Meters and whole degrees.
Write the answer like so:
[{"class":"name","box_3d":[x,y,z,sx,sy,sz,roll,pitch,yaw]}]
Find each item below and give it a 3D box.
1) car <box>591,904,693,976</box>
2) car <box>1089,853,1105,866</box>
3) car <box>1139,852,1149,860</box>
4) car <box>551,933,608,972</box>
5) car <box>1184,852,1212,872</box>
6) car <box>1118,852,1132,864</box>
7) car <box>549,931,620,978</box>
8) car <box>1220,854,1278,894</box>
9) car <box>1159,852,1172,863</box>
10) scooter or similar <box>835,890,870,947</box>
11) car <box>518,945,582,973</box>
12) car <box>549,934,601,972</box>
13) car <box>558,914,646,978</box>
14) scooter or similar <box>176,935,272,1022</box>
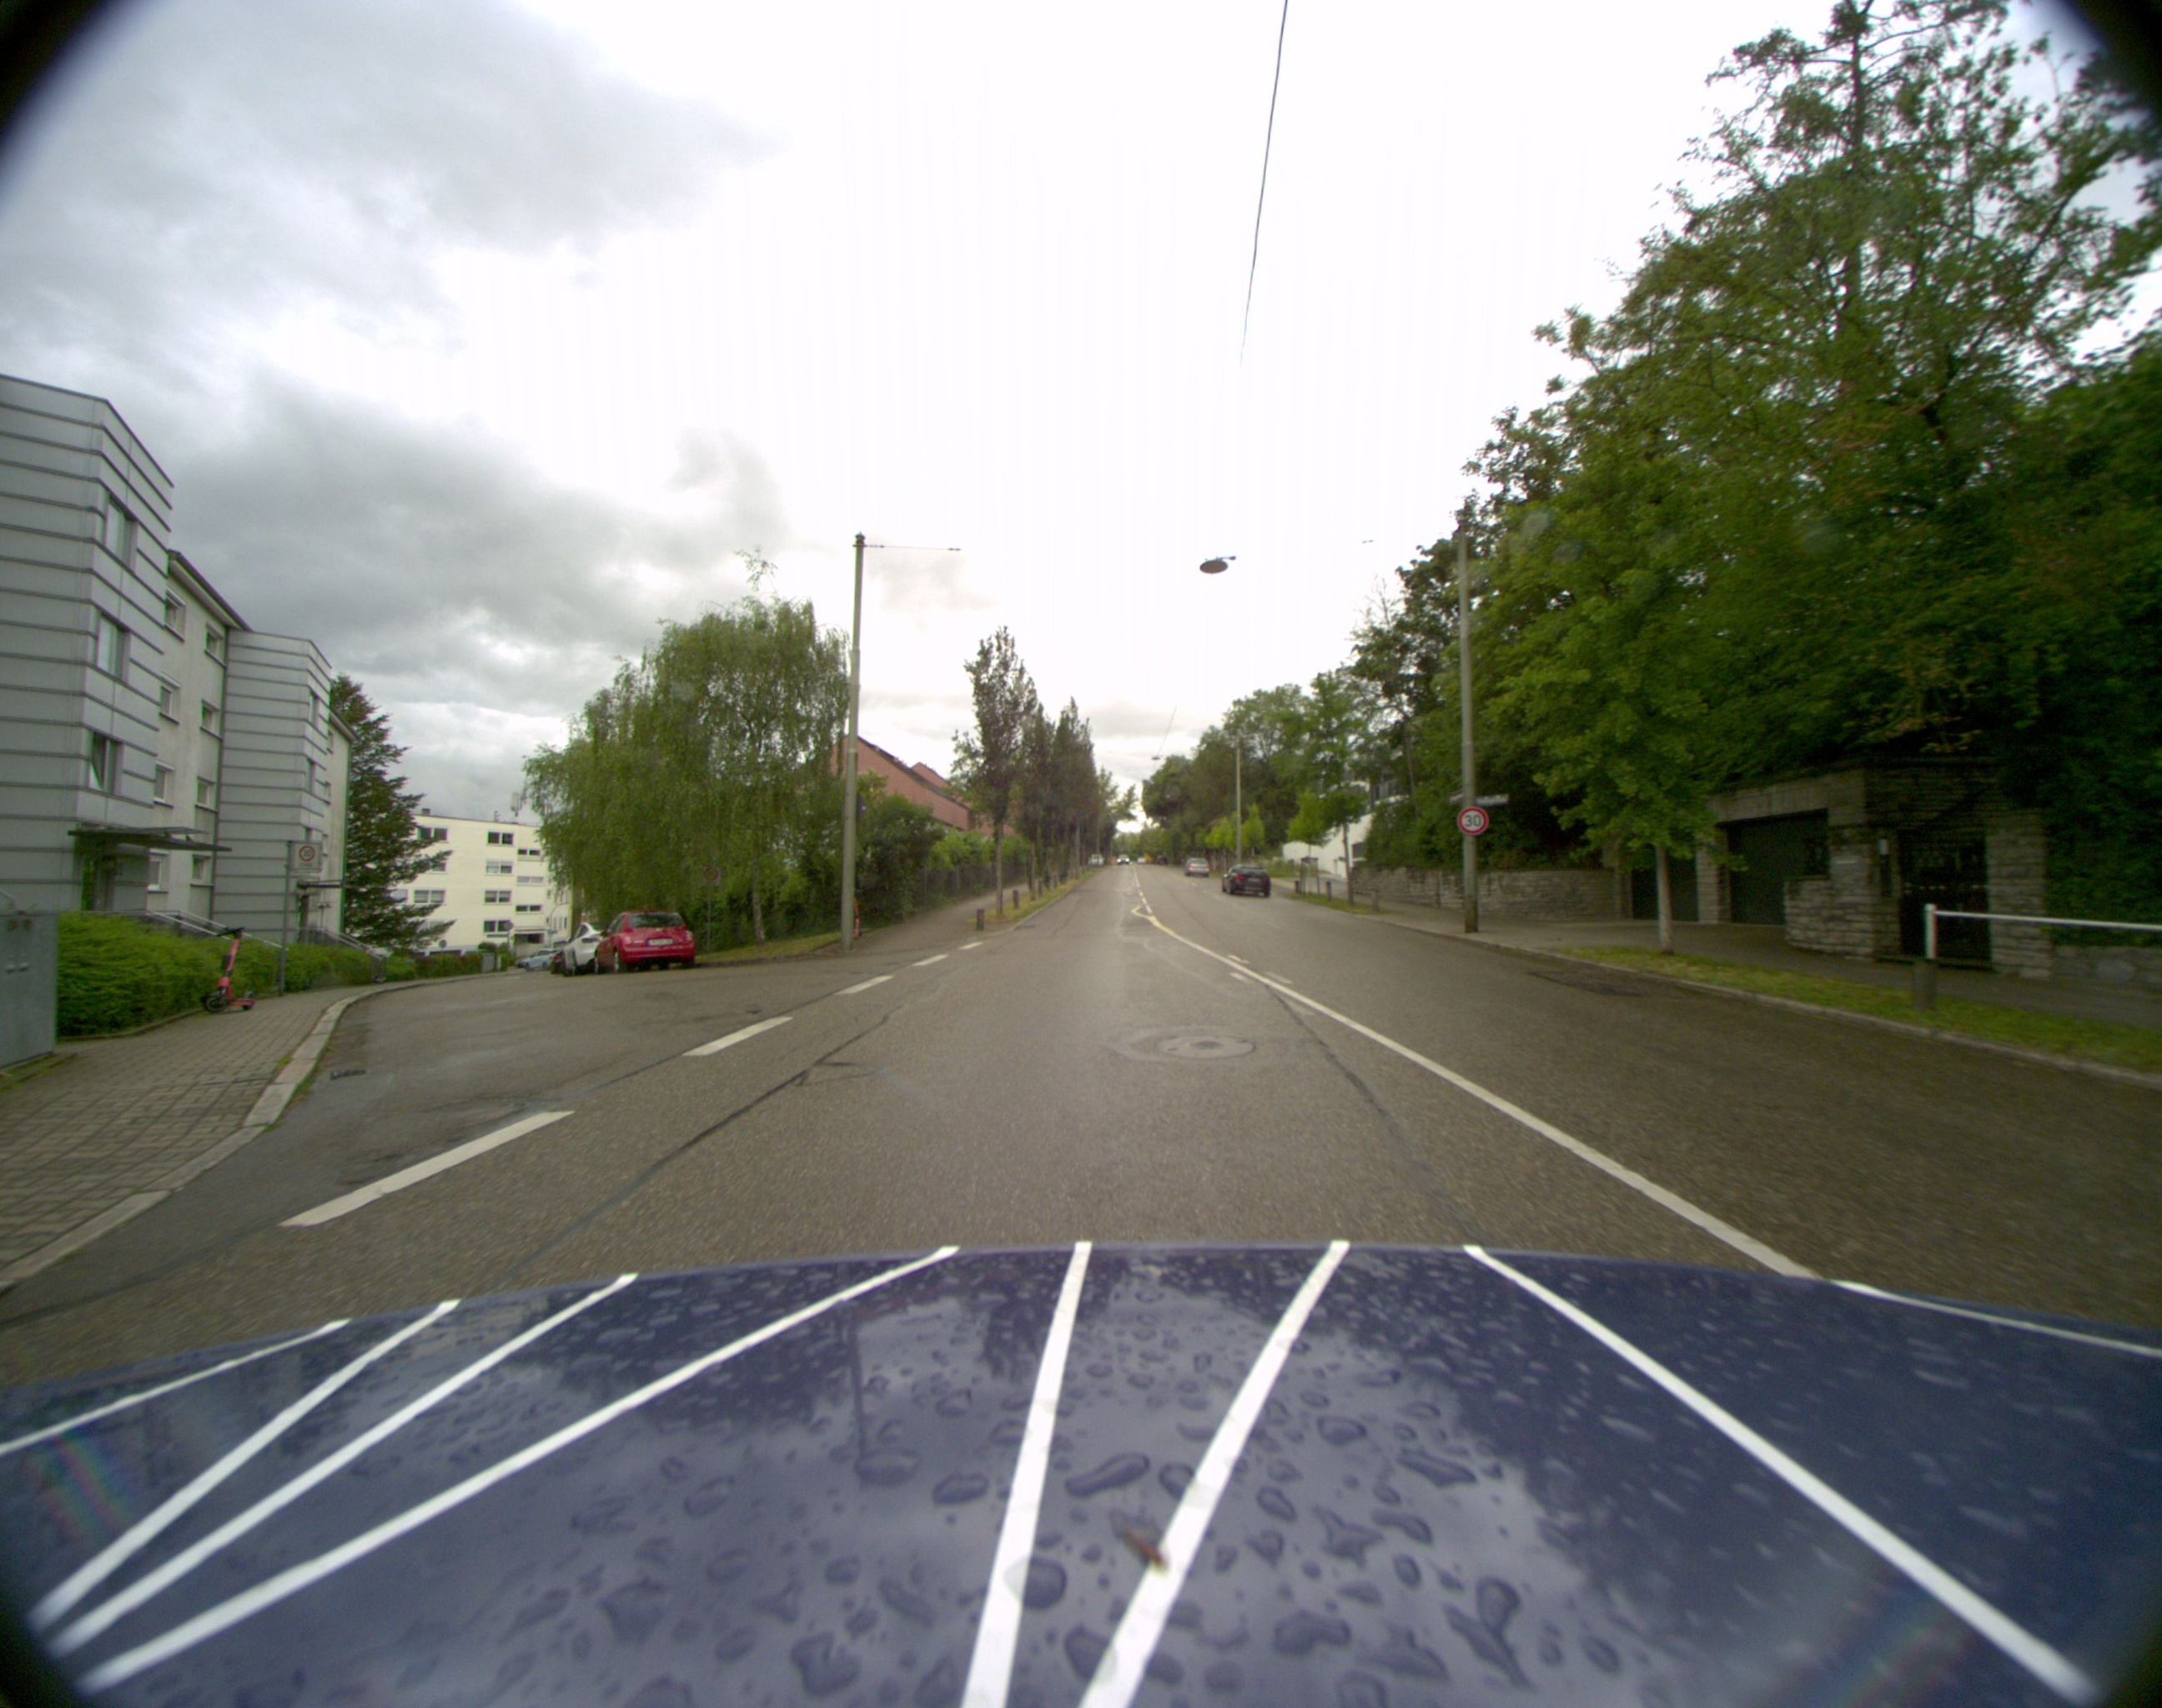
[{"class":"car","box_3d":[-10.886,2.151,18.746,1.648,1.512,3.563,0,-7,-38]},{"class":"car","box_3d":[2.024,0.690,94.303,1.829,1.620,4.000,0,1,2]},{"class":"car","box_3d":[12.299,0.378,148.135,1.765,1.477,4.001,1,1,4]},{"class":"car","box_3d":[-21.283,4.151,32.188,1.598,1.370,3.892,-3,-4,-38]},{"class":"car","box_3d":[9.165,0.608,59.705,1.769,1.477,3.802,3,0,4]},{"class":"car","box_3d":[6.934,0.649,119.309,1.998,1.674,4.002,-3,-1,6]},{"class":"car","box_3d":[-18.152,3.702,27.705,1.730,1.412,4.295,-3,-6,-38]},{"class":"car","box_3d":[7.727,0.874,35.327,1.915,1.576,4.588,3,1,4]},{"class":"car","box_3d":[13.263,0.560,119.364,1.749,1.540,3.918,3,0,3]},{"class":"scooter or similar","box_3d":[-5.570,1.563,18.590,0.343,1.247,1.267,-3,1,3]},{"class":"car","box_3d":[-41.201,8.118,58.948,3.993,1.806,1.843,-3,-1,15]},{"class":"car","box_3d":[-25.246,4.918,37.876,2.003,1.585,3.993,-3,-4,-35]},{"class":"car","box_3d":[-14.473,2.804,22.847,1.730,1.531,4.366,-3,-6,-38]},{"class":"scooter or similar","box_3d":[-12.331,1.762,10.974,0.498,1.176,1.202,3,-7,-30]}]
